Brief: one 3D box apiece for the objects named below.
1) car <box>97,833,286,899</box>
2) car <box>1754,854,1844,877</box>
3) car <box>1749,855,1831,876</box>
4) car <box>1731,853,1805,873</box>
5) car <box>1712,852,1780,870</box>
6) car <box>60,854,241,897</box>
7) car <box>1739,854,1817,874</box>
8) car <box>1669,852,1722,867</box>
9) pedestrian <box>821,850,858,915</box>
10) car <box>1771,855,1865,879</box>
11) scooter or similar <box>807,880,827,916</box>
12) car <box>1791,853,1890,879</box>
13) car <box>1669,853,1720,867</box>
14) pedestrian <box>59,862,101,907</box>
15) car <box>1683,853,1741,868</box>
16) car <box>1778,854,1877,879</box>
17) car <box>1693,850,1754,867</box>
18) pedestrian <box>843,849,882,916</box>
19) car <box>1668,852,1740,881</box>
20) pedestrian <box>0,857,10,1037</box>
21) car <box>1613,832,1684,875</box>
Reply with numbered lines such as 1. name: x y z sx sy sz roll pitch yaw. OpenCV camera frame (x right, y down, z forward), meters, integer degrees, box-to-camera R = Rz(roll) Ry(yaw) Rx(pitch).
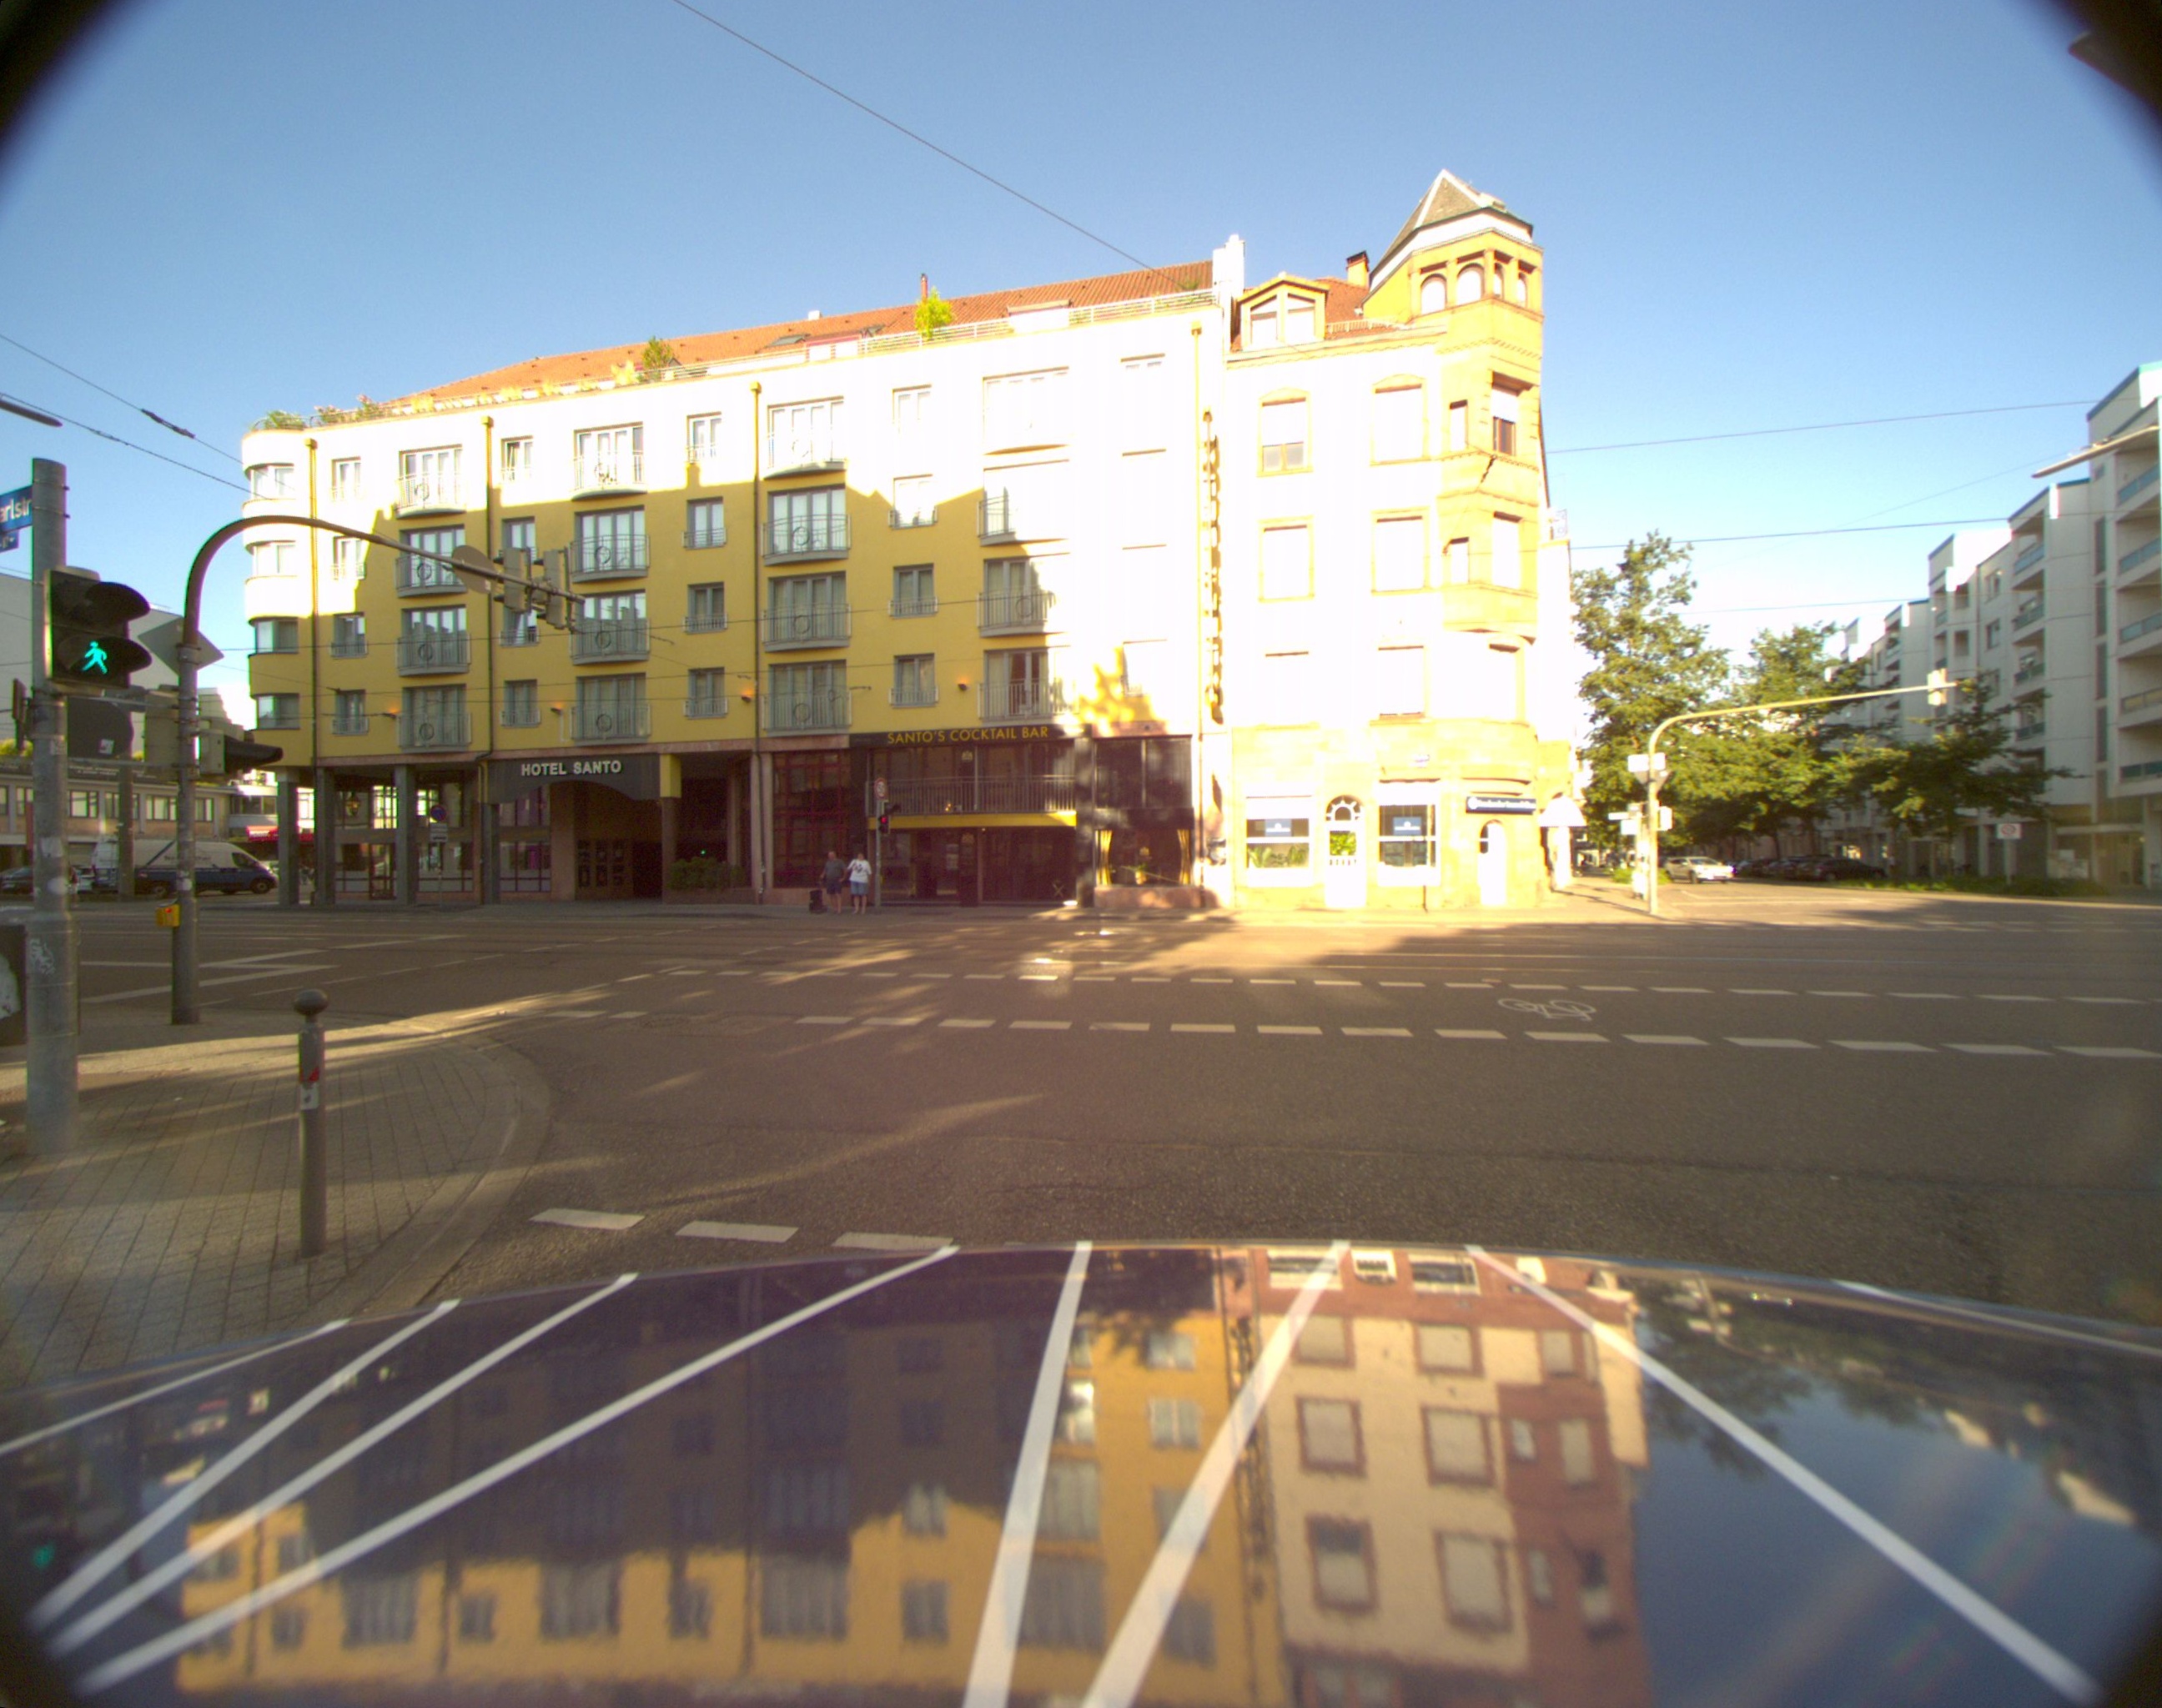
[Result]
1. car: -39.860 0.498 34.298 2.056 2.742 5.154 0 0 13
2. car: 51.608 0.827 54.747 4.293 1.575 2.004 0 0 26
3. car: 55.632 0.898 59.731 4.293 1.575 2.004 0 0 27
4. car: 58.283 0.758 64.533 4.293 1.575 2.004 0 0 27
5. car: 60.284 0.641 69.014 4.293 1.575 2.004 0 0 27
6. car: -42.573 0.917 34.960 2.056 1.826 4.824 0 0 13
7. car: 57.147 0.817 62.399 4.293 1.575 2.004 0 0 27
8. car: 68.349 0.638 84.603 4.293 1.575 2.004 0 0 27
9. pedestrian: -6.989 0.815 21.992 0.678 1.831 0.727 0 4 11
10. car: 50.766 0.883 52.450 4.293 1.575 2.004 0 0 26
11. scooter or similar: -7.572 1.259 21.822 0.356 0.972 0.423 -1 4 9
12. car: 48.063 0.742 48.186 3.990 1.575 2.004 0 0 26
13. car: 71.475 0.662 88.565 4.293 1.575 2.004 0 0 27
14. pedestrian: -38.067 1.161 28.900 0.689 1.685 0.726 0 0 9
15. car: 64.895 0.680 78.230 4.293 1.575 2.004 0 0 27
16. car: 49.305 0.839 50.302 4.293 1.575 2.004 0 0 26
17. car: 63.863 0.457 75.558 4.293 1.575 2.004 0 0 27
18. pedestrian: -6.210 0.803 21.602 0.734 1.831 0.727 0 4 11
19. car: 38.617 0.737 47.233 1.996 1.739 4.005 0 0 14
20. pedestrian: -10.769 0.869 6.865 1.171 1.670 1.009 0 0 23
21. car: 44.177 -0.037 59.382 3.317 3.160 8.098 0 0 29
